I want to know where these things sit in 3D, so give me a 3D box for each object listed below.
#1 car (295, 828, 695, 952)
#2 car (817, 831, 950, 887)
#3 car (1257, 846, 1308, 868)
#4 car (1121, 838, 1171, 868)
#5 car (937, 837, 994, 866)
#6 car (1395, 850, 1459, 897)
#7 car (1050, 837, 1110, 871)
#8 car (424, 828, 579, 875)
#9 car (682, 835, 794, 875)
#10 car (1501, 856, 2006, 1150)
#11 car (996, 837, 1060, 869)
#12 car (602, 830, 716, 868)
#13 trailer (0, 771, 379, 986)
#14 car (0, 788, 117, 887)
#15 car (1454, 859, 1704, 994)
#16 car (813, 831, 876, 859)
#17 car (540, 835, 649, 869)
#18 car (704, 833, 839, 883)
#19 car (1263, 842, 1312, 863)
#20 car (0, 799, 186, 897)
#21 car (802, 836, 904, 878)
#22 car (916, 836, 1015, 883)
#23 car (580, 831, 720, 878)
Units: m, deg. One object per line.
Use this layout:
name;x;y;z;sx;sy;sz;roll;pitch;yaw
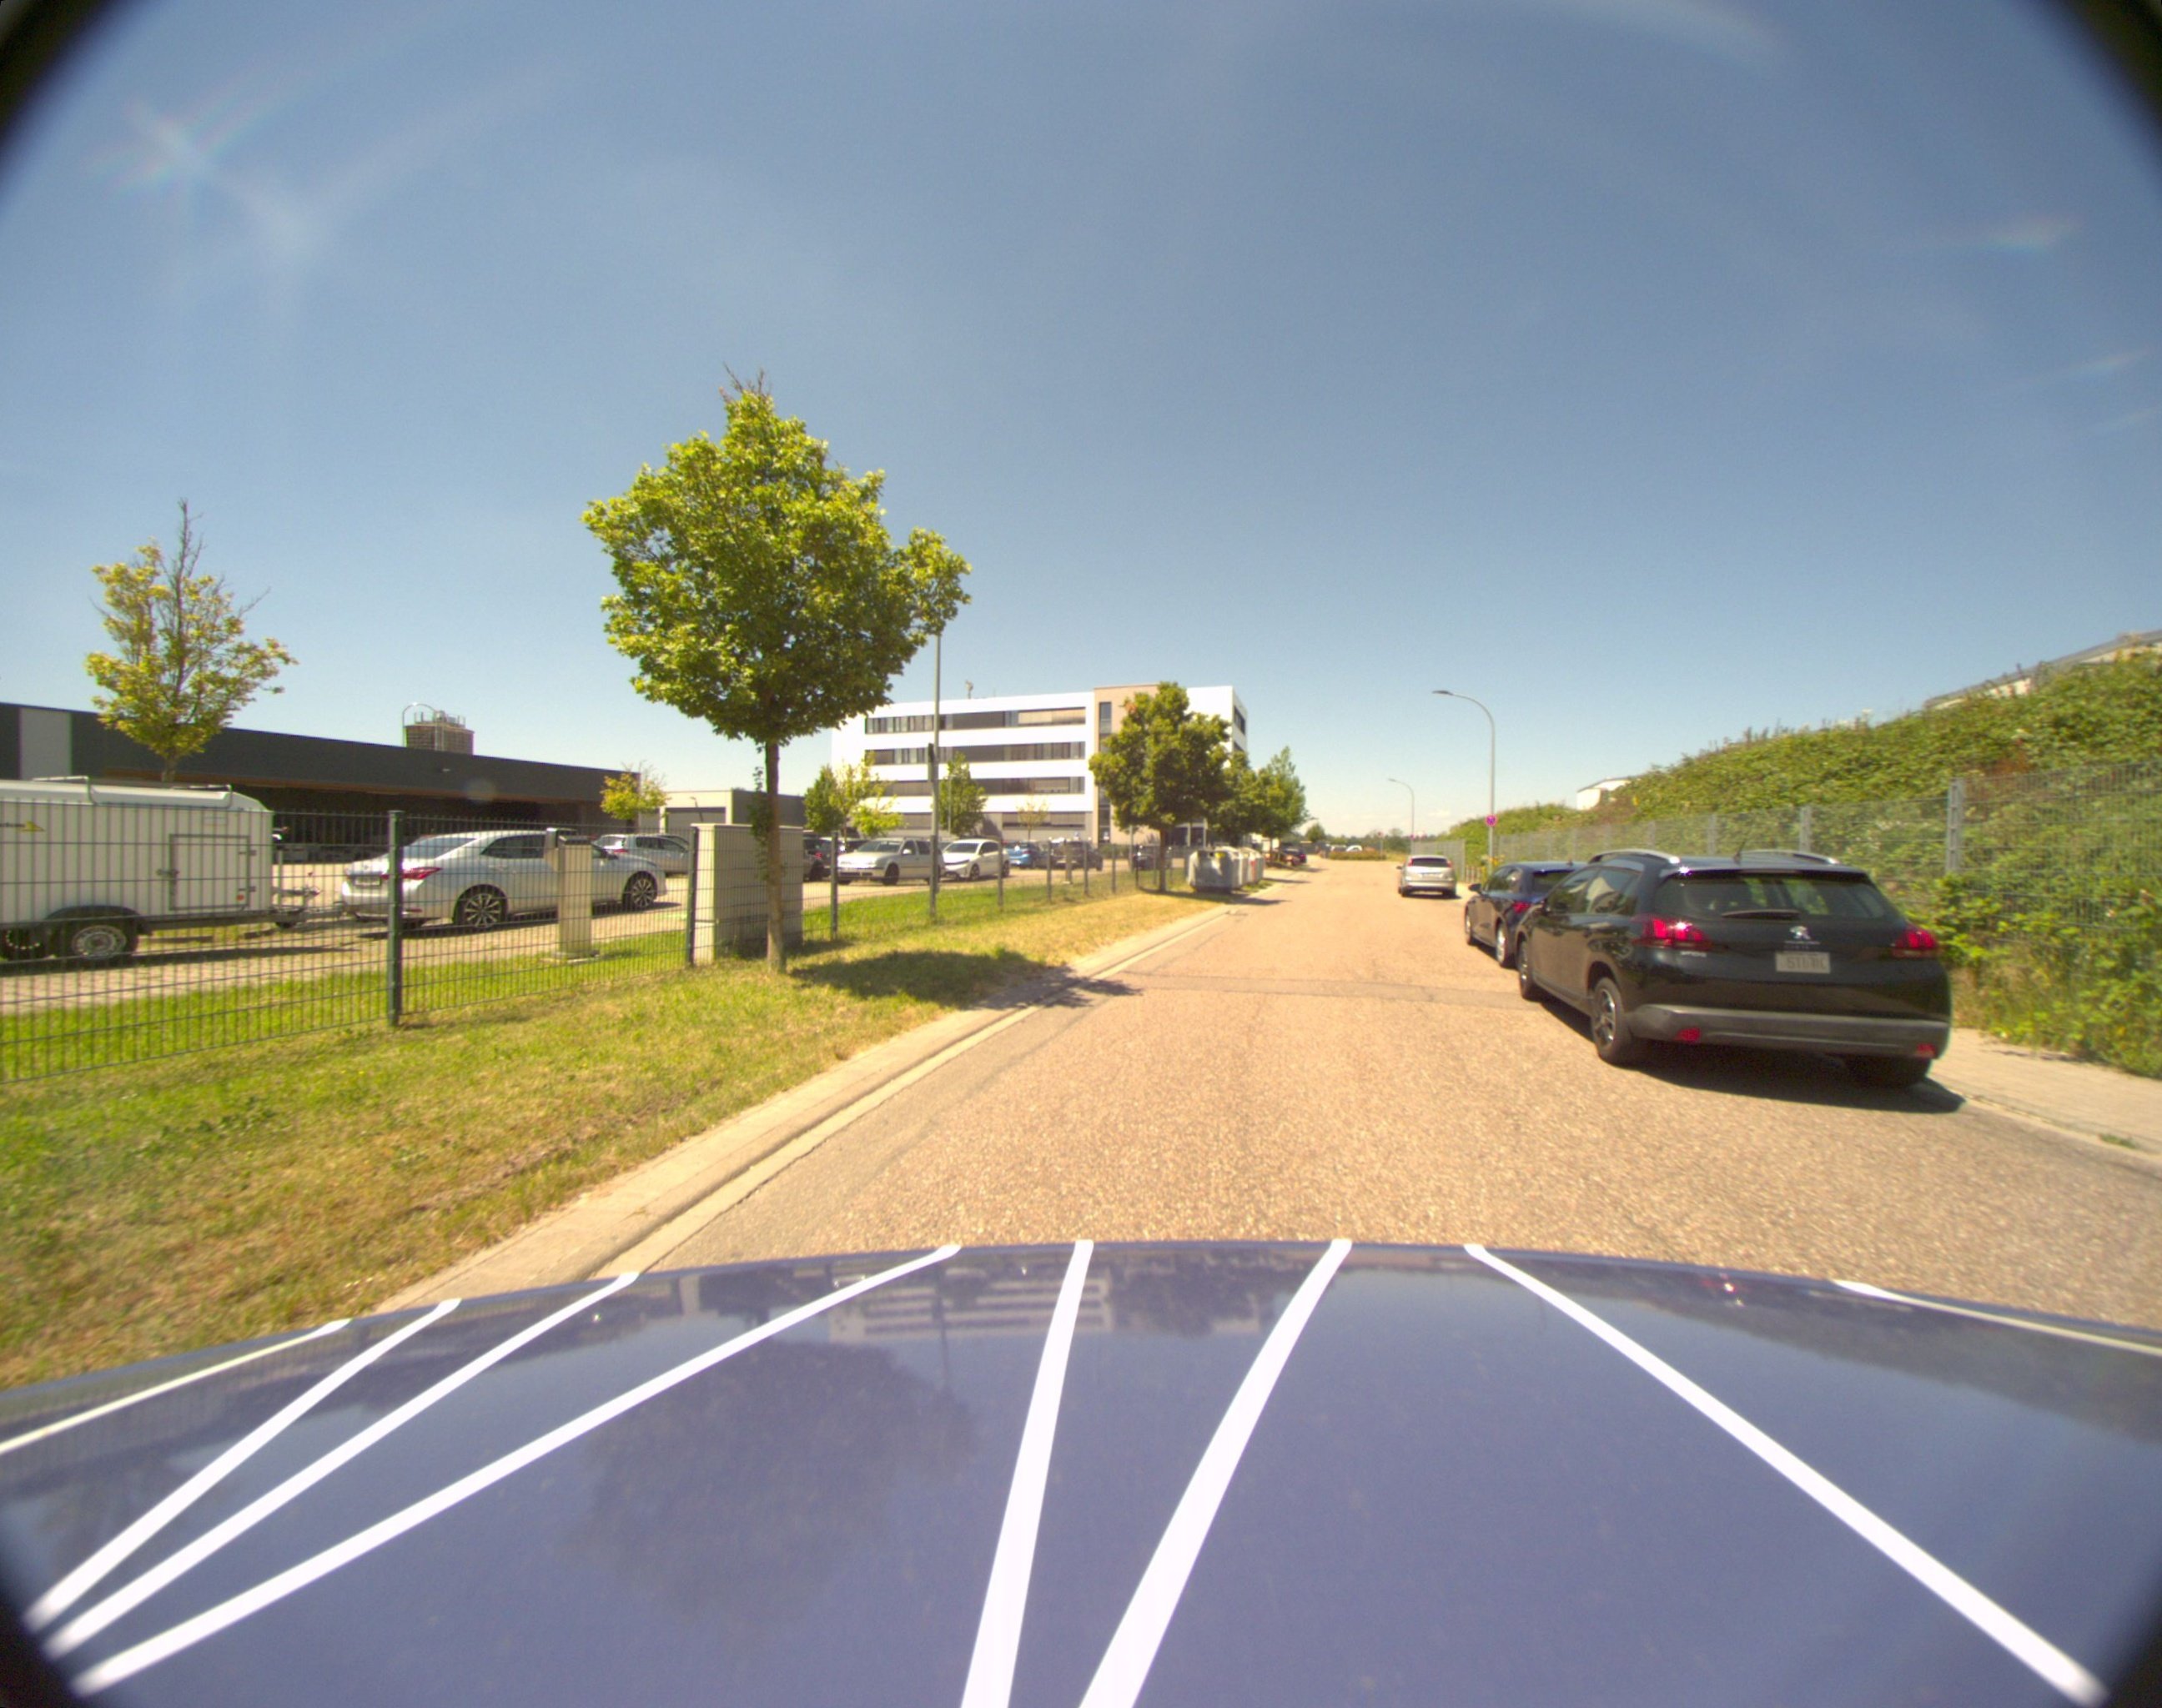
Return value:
car;-9.052;0.398;12.420;1.851;1.491;4.860;0;3;20
car;-5.737;0.198;22.690;1.851;1.489;4.296;0;-1;18
car;16.953;0.277;63.912;3.992;1.694;1.893;-2;1;18
car;3.661;-0.025;42.348;1.828;1.445;3.932;-2;-3;19
car;-7.242;-0.104;47.936;1.828;1.634;3.933;-2;-3;21
car;12.340;0.642;27.315;1.850;1.511;3.954;1;1;21
car;0.016;-0.031;38.204;1.828;1.565;3.930;1;1;19
car;-21.781;-0.112;28.771;1.963;1.622;4.259;0;1;20
car;-13.669;0.031;30.553;1.851;1.490;3.931;0;1;20
car;4.916;0.827;6.396;1.655;1.546;4.138;1;1;18
car;-2.673;-0.011;39.237;1.828;1.445;3.932;-2;-3;19
car;-17.906;-0.254;32.468;1.851;1.491;3.929;0;3;20
trailer;-10.518;0.247;8.300;1.851;1.987;3.744;0;-1;20
car;-28.215;-0.348;18.262;2.192;2.444;5.683;0;3;17
car;6.874;0.848;11.074;1.937;1.446;4.287;1;1;18
car;-15.131;-0.538;48.847;1.828;1.527;3.933;-2;-3;21
car;-22.675;-0.118;35.594;1.851;1.490;3.931;0;1;20
car;-9.889;0.092;24.631;1.851;1.490;3.931;0;1;20
car;17.884;-0.138;65.788;3.992;1.631;1.893;-2;1;18
car;-25.495;-0.149;17.523;2.139;2.212;5.839;1;2;17
car;-8.731;0.083;29.466;1.851;1.490;3.930;1;0;19
car;-4.110;0.147;27.749;1.851;1.491;3.929;0;3;20
car;-14.843;-0.005;26.391;1.851;1.490;3.931;0;1;20
